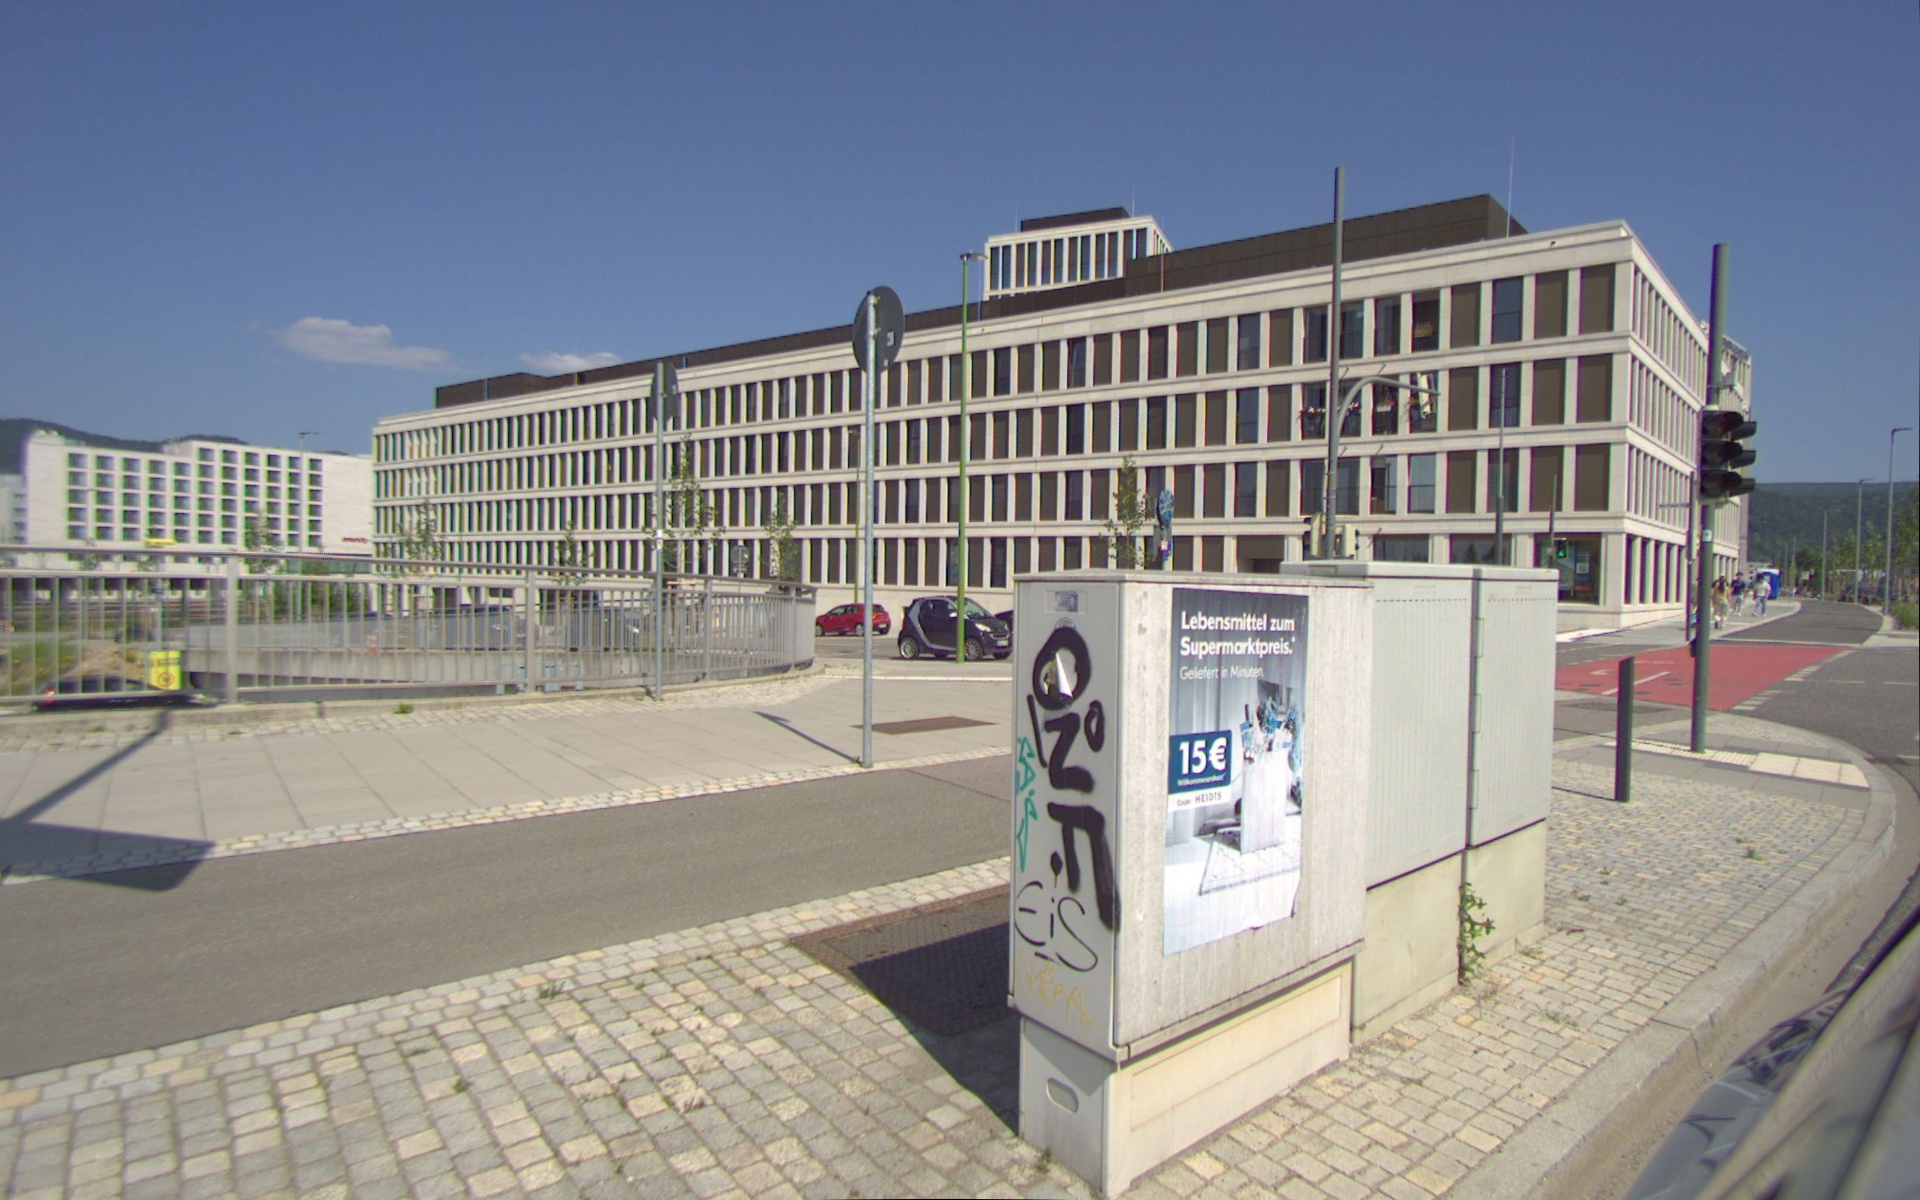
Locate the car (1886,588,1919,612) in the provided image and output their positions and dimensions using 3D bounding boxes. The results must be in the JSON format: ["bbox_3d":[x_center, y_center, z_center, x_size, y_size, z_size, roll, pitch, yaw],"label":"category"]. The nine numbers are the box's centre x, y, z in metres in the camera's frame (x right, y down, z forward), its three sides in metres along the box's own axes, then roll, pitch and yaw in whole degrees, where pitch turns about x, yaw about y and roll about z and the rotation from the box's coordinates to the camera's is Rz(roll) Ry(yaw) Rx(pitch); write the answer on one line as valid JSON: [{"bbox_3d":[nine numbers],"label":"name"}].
[{"bbox_3d":[63.323,-0.025,67.865,1.805,1.527,3.938,-1,0,43],"label":"car"}]

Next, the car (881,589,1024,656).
[{"bbox_3d":[-0.198,0.517,24.280,3.303,1.482,1.460,-1,1,-2],"label":"car"}]

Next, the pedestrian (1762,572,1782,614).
[{"bbox_3d":[34.588,-0.306,43.110,0.577,1.741,0.981,1,2,43],"label":"pedestrian"}]

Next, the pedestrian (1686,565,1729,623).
[{"bbox_3d":[24.476,-0.187,33.125,0.878,1.849,1.638,-1,0,44],"label":"pedestrian"}]

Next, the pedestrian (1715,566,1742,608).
[{"bbox_3d":[33.149,-0.570,43.653,0.824,1.805,0.912,2,3,43],"label":"pedestrian"}]

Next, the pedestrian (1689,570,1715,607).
[{"bbox_3d":[32.223,-0.517,43.950,0.768,1.585,0.829,2,3,43],"label":"pedestrian"}]

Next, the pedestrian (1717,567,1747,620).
[{"bbox_3d":[25.624,-0.202,33.597,0.700,1.746,0.783,-1,-2,45],"label":"pedestrian"}]

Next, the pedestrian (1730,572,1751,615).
[{"bbox_3d":[33.031,-0.285,42.821,0.577,1.762,0.981,2,1,43],"label":"pedestrian"}]
